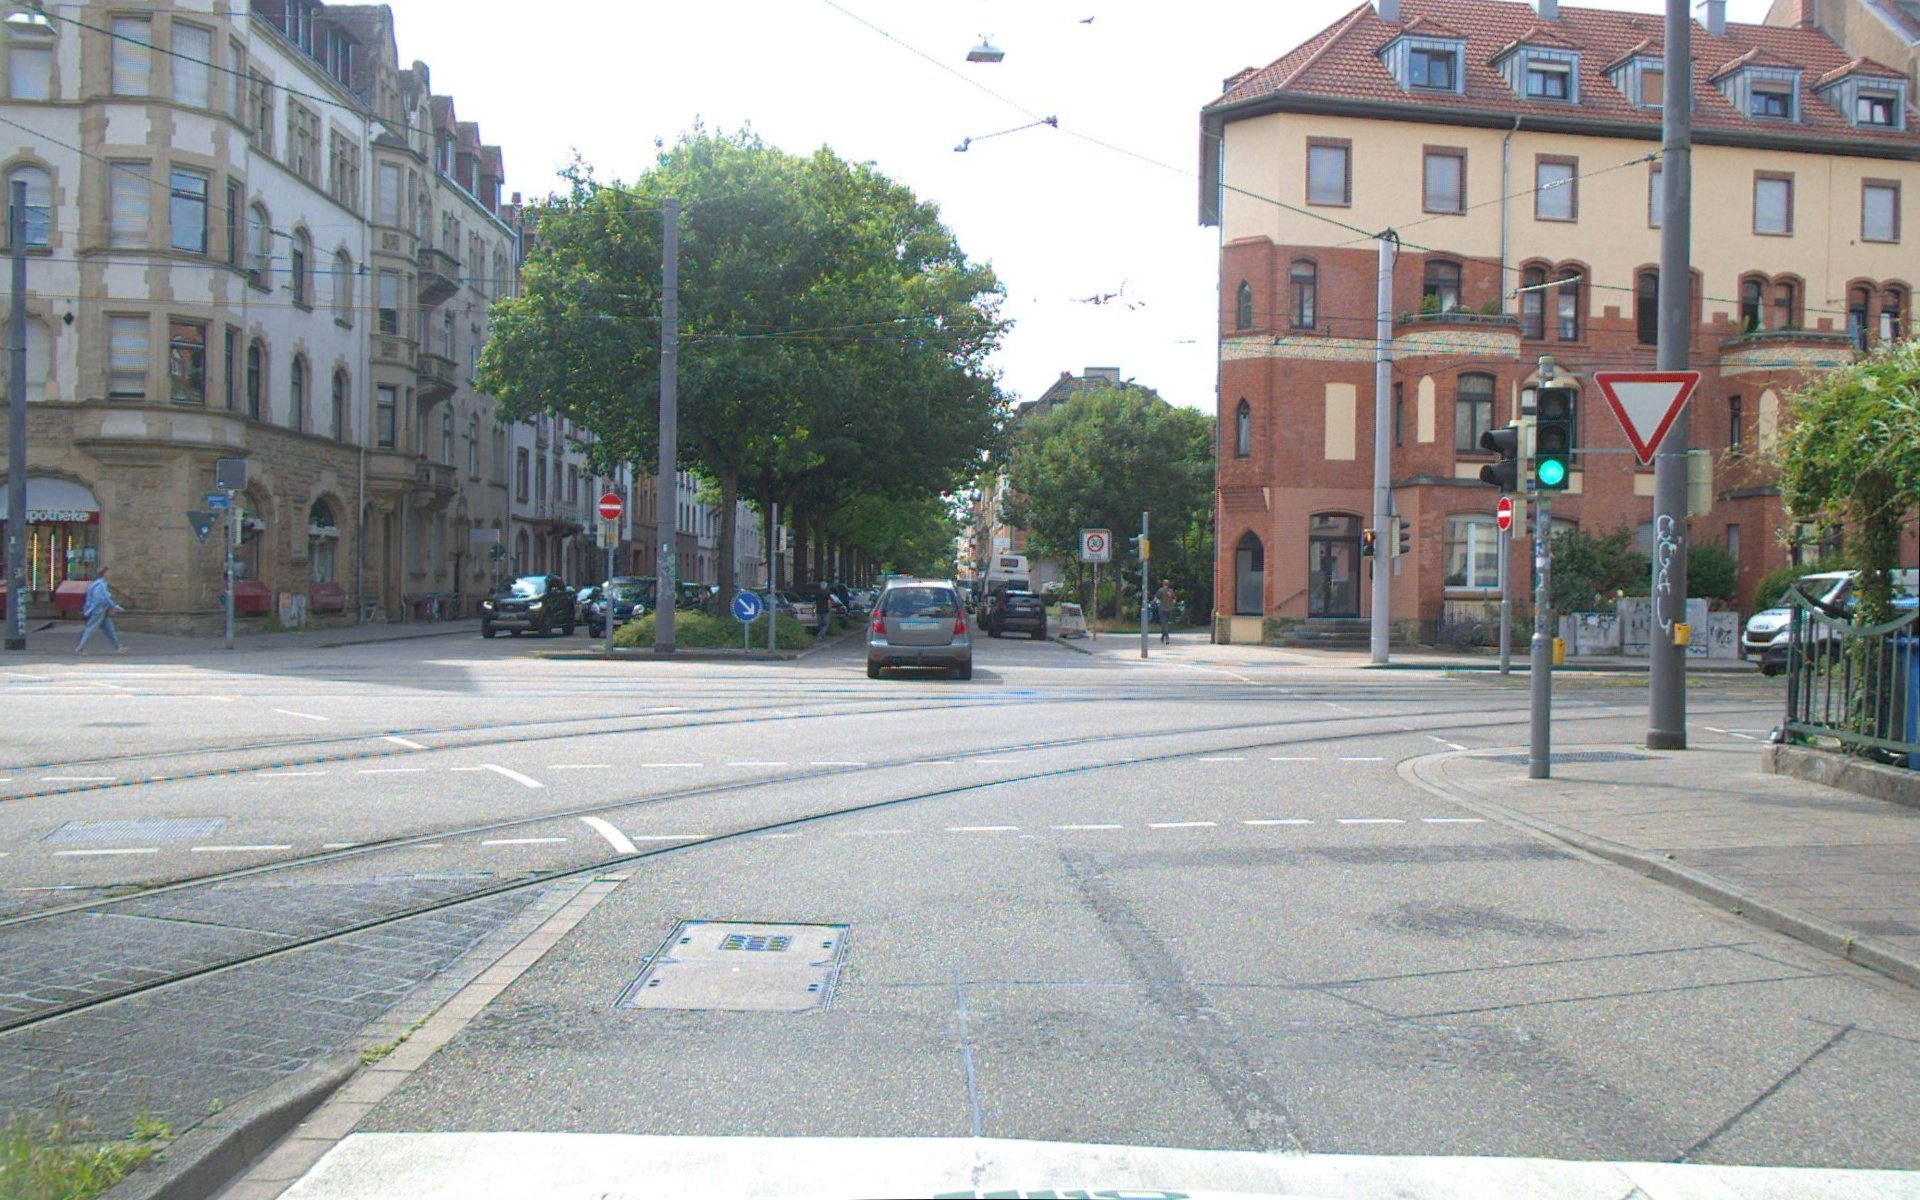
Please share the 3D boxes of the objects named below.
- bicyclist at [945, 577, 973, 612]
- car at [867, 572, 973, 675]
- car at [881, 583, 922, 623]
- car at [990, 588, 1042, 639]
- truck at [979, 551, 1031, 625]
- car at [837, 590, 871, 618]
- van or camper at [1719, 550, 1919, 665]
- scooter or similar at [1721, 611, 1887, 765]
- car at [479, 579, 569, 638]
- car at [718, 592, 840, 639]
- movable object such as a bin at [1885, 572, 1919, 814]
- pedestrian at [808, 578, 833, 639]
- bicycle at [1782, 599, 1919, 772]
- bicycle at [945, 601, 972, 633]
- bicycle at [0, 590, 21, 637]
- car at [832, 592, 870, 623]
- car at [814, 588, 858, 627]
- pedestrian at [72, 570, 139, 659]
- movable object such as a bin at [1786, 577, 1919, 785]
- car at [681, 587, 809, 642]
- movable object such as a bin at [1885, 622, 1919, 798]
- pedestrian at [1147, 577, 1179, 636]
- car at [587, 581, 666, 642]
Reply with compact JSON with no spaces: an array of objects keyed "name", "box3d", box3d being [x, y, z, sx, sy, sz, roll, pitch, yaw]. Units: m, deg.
[{"name":"bicyclist","box3d":[-0.027,-0.176,53.058,0.819,1.101,1.401,0,0,3]},{"name":"car","box3d":[-0.631,0.362,28.118,1.687,1.633,3.677,0,0,0]},{"name":"car","box3d":[-2.568,0.107,73.845,1.687,1.736,3.677,0,0,0]},{"name":"car","box3d":[1.957,0.448,56.887,1.715,1.661,3.501,1,0,3]},{"name":"truck","box3d":[1.921,-0.514,69.783,2.078,3.022,4.002,0,0,3]},{"name":"car","box3d":[-5.993,0.190,93.990,1.716,1.543,3.499,1,0,0]},{"name":"van or camper","box3d":[19.585,0.176,34.771,6.401,2.293,2.244,1,0,-8]},{"name":"scooter or similar","box3d":[6.959,0.712,13.651,1.171,1.238,0.462,0,0,-8]},{"name":"car","box3d":[-12.740,0.230,48.523,1.955,1.646,3.995,0,0,-6]},{"name":"car","box3d":[-5.662,0.473,51.518,1.956,1.362,3.943,1,0,-40]},{"name":"movable object such as a bin","box3d":[6.705,0.605,10.062,1.028,1.566,2.100,0,0,1]},{"name":"pedestrian","box3d":[-4.096,0.245,48.620,0.638,1.755,0.495,1,0,3]},{"name":"bicycle","box3d":[7.502,0.671,13.313,1.795,1.352,0.276,0,0,-11]},{"name":"bicycle","box3d":[-0.031,0.537,52.915,0.733,0.975,2.300,0,0,3]},{"name":"bicycle","box3d":[-23.222,0.316,38.828,1.881,1.100,0.776,0,0,-12]},{"name":"car","box3d":[-5.708,0.366,86.901,1.716,1.543,3.499,1,0,0]},{"name":"car","box3d":[-5.476,0.326,73.362,1.716,1.661,3.499,1,0,0]},{"name":"pedestrian","box3d":[-17.294,0.285,33.482,1.016,1.752,0.763,1,0,-45]},{"name":"movable object such as a bin","box3d":[6.848,0.581,12.444,0.701,1.497,0.980,0,0,-9]},{"name":"car","box3d":[-6.390,0.411,48.891,1.956,1.521,3.943,1,0,-40]},{"name":"movable object such as a bin","box3d":[7.083,0.757,11.443,1.007,1.195,0.659,0,0,1]},{"name":"pedestrian","box3d":[5.852,0.176,47.694,0.850,1.685,0.737,1,0,4]},{"name":"car","box3d":[-10.066,0.329,50.182,1.955,1.758,3.995,0,0,-6]}]
